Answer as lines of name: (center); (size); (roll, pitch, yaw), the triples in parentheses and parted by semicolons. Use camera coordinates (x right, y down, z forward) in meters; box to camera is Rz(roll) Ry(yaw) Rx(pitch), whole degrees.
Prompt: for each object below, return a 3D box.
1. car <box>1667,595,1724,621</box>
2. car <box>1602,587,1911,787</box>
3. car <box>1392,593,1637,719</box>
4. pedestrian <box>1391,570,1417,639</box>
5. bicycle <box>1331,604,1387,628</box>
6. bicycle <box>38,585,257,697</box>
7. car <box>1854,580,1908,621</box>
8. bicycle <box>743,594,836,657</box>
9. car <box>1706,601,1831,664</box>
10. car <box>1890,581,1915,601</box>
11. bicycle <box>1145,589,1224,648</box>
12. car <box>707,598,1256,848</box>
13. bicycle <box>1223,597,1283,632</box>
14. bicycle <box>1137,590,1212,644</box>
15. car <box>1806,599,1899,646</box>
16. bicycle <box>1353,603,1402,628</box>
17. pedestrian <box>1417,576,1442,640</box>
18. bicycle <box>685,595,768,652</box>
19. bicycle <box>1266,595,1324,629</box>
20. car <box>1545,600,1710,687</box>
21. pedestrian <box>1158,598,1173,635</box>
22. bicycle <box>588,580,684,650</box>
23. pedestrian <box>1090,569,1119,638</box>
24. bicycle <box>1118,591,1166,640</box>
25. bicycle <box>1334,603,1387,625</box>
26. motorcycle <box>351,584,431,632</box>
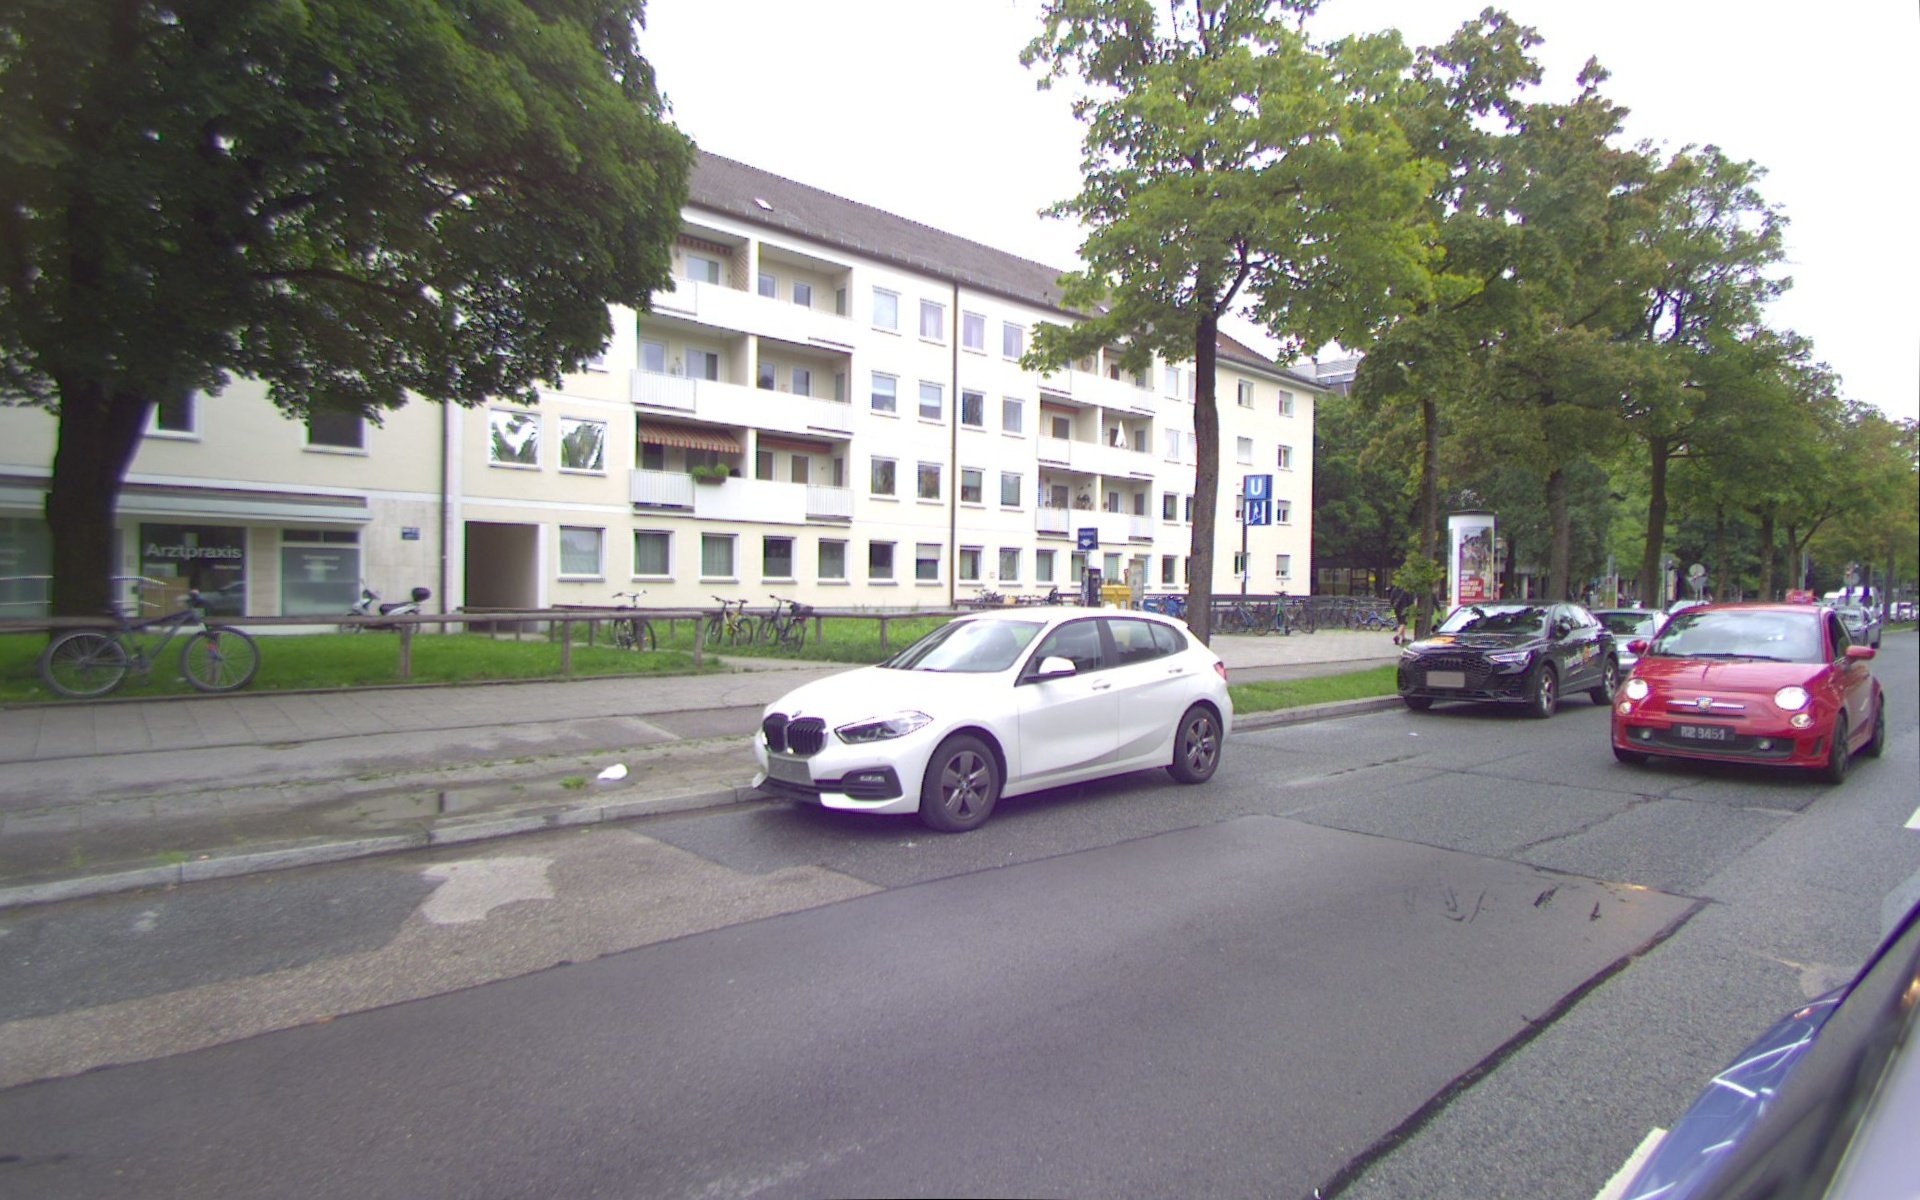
car: (43.273, 0.463, 59.511); (4.225, 1.487, 1.825); (0, 0, -41)
car: (7.833, 0.652, 9.795); (4.227, 1.519, 1.721); (0, 0, -43)
car: (7.998, 0.678, 14.441); (4.086, 1.530, 1.824); (0, 0, -42)
pedestrian: (11.542, 0.115, 26.321); (0.555, 1.778, 0.651); (1, 0, 29)
bicycle: (12.832, 0.498, 32.546); (0.490, 0.645, 1.596); (0, 3, -45)
bicycle: (-8.334, 0.382, 10.445); (1.738, 1.068, 0.470); (-1, 0, -42)
car: (58.770, 0.002, 64.558); (4.912, 2.486, 1.997); (-1, 0, -41)
bicycle: (-3.184, 0.449, 18.739); (0.653, 1.081, 2.027); (0, 1, -45)
car: (20.066, 0.731, 25.059); (4.227, 1.397, 1.824); (0, 0, -43)
car: (122.981, -1.166, 132.030); (4.915, 2.485, 1.996); (0, 1, -43)
bicycle: (4.871, 0.381, 21.878); (2.039, 1.203, 0.545); (0, 0, -41)
car: (0.357, 0.725, 7.990); (4.213, 1.455, 1.824); (0, -1, -41)
bicycle: (8.273, 0.392, 28.641); (0.490, 0.927, 1.595); (0, 1, -45)
bicycle: (4.916, 0.371, 23.129); (2.039, 1.203, 0.545); (0, 0, -41)
car: (30.114, 0.704, 34.108); (4.225, 1.487, 1.825); (0, 0, -41)
bicycle: (13.832, 0.505, 33.566); (0.490, 0.722, 1.389); (0, 3, -45)
pedestrian: (12.047, 0.195, 25.964); (0.555, 1.625, 0.515); (1, 0, 29)
bicycle: (-4.742, 0.446, 20.472); (0.653, 1.081, 2.027); (0, 1, -45)
bicycle: (10.017, 0.349, 30.308); (0.490, 0.927, 1.596); (0, 2, -45)
car: (12.125, 0.703, 18.296); (3.860, 1.397, 1.615); (0, 0, -43)
pedestrian: (5.285, 0.414, 26.009); (0.333, 0.932, 0.393); (1, 0, 21)
bicycle: (-5.331, 0.210, 16.578); (0.653, 1.081, 2.027); (0, 1, -45)
pedestrian: (3.627, 0.077, 25.409); (0.555, 1.694, 0.515); (1, 0, 29)
bicycle: (4.378, 0.360, 24.284); (1.231, 1.130, 0.466); (0, 0, -41)
bicycle: (13.190, 0.450, 33.359); (0.490, 0.704, 1.595); (0, 0, -45)
motorcycle: (-13.799, 0.179, 24.570); (1.593, 1.134, 0.606); (0, 0, -41)
